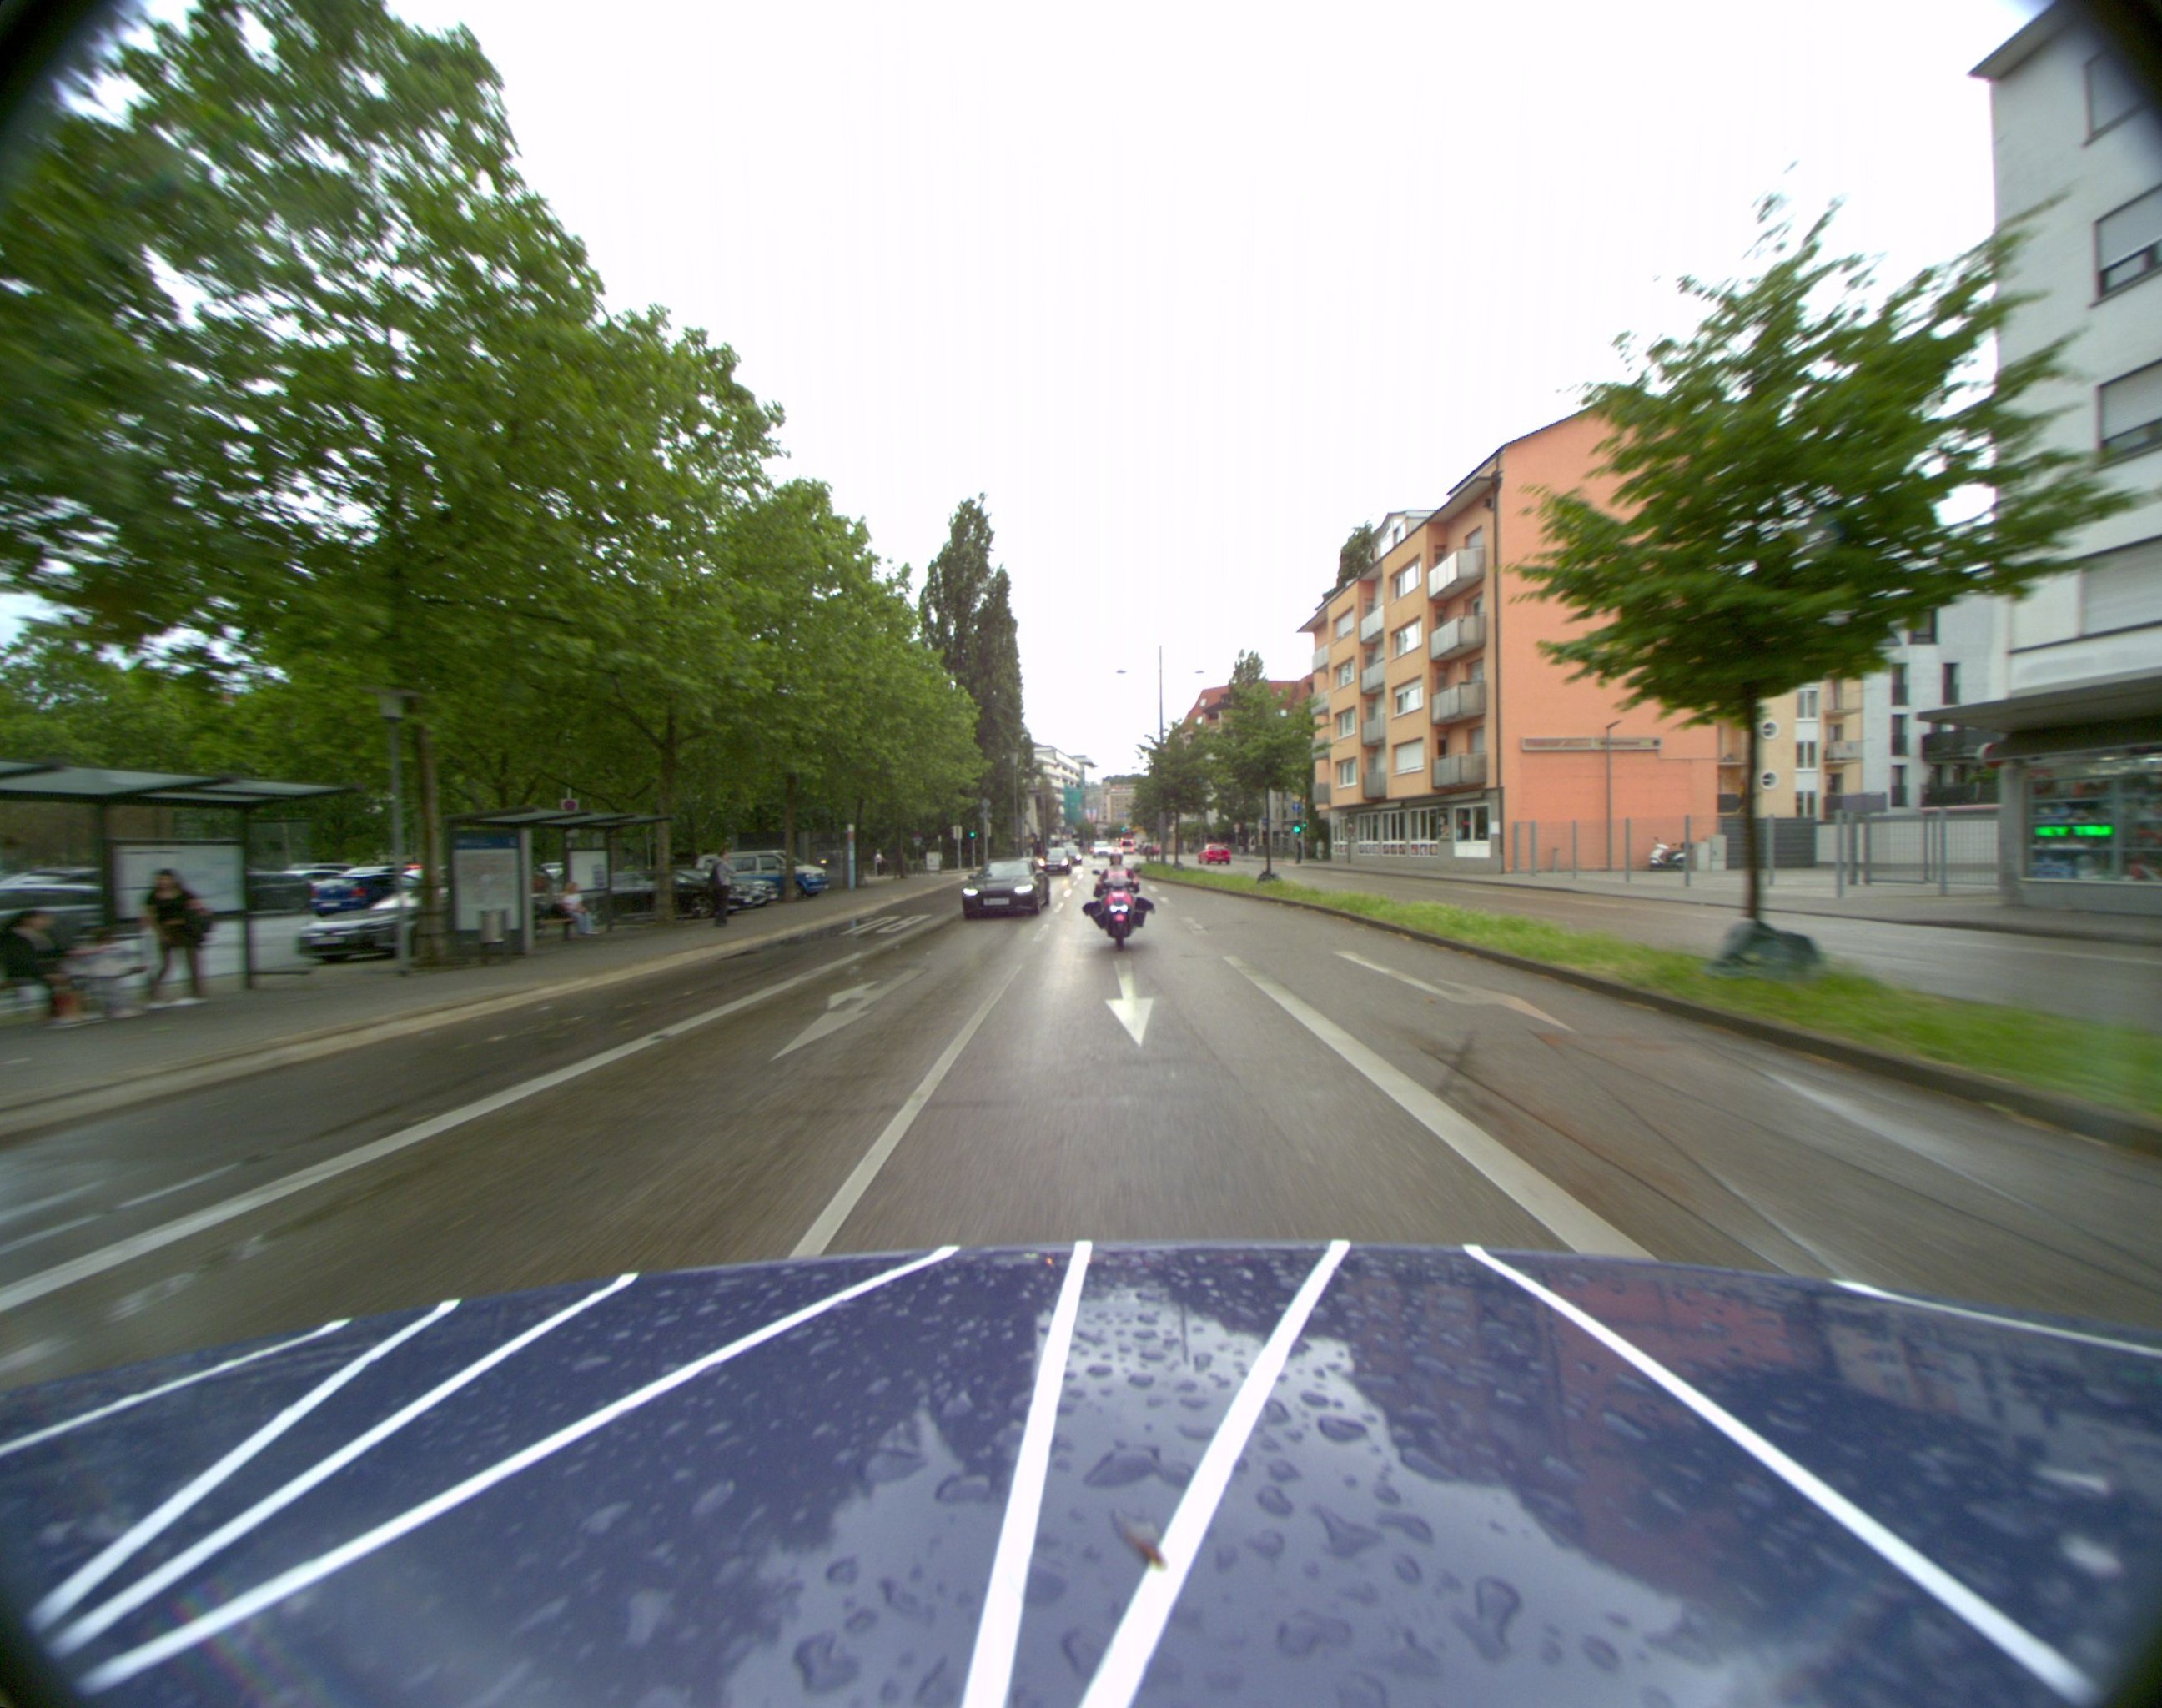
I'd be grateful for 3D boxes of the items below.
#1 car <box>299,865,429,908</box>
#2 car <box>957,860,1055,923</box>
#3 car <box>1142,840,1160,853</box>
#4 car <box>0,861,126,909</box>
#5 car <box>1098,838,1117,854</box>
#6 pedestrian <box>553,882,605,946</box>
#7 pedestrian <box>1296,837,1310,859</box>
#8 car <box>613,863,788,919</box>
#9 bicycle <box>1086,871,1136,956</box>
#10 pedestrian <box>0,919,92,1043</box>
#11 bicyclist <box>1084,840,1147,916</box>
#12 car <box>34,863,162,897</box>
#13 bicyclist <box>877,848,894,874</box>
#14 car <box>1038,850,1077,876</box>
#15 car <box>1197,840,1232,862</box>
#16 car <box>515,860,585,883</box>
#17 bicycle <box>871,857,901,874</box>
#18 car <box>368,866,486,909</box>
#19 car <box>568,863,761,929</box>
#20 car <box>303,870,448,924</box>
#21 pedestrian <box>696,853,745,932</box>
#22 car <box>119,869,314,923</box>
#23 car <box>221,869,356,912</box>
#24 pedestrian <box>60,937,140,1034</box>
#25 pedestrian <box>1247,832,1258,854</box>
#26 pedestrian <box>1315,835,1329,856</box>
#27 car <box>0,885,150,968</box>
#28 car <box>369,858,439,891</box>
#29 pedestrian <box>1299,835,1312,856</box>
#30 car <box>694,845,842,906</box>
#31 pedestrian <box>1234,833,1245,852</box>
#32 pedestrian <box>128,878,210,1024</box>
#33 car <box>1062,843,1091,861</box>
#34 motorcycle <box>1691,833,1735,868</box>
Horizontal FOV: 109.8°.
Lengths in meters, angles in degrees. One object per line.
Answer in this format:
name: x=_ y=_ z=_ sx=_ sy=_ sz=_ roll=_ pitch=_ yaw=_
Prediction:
car: x=-27.794 y=1.214 z=29.625 sx=1.531 sy=1.583 sz=3.612 roll=0 pitch=0 yaw=3
car: x=-1.942 y=0.951 z=21.064 sx=1.896 sy=1.396 sz=4.362 roll=-4 pitch=0 yaw=5
car: x=7.835 y=-0.839 z=85.206 sx=1.571 sy=1.385 sz=3.832 roll=0 pitch=1 yaw=-3
car: x=-38.950 y=1.107 z=27.973 sx=1.973 sy=1.660 sz=4.629 roll=0 pitch=0 yaw=-5
car: x=2.721 y=-0.787 z=76.881 sx=1.896 sy=1.567 sz=4.361 roll=0 pitch=0 yaw=3
pedestrian: x=-10.967 y=1.301 z=16.616 sx=0.632 sy=1.314 sz=0.626 roll=-2 pitch=2 yaw=13
pedestrian: x=15.169 y=-0.429 z=51.998 sx=0.561 sy=1.433 sz=0.608 roll=-5 pitch=1 yaw=-21
car: x=-12.431 y=1.189 z=25.019 sx=4.749 sy=1.397 sz=1.862 roll=-4 pitch=1 yaw=2
bicycle: x=0.467 y=0.947 z=12.841 sx=0.717 sy=1.297 sz=2.428 roll=1 pitch=-1 yaw=-1
pedestrian: x=-11.118 y=1.343 z=8.139 sx=0.499 sy=1.263 sz=0.402 roll=-1 pitch=0 yaw=2
bicyclist: x=0.594 y=0.412 z=12.812 sx=0.962 sy=1.218 sz=0.715 roll=-2 pitch=-2 yaw=7
car: x=-48.819 y=1.253 z=37.846 sx=1.639 sy=1.416 sz=3.597 roll=-2 pitch=1 yaw=-2
bicyclist: x=-13.474 y=0.484 z=52.342 sx=0.988 sy=1.760 sz=0.795 roll=-2 pitch=2 yaw=-17
car: x=-1.276 y=0.471 z=43.432 sx=1.896 sy=1.391 sz=4.361 roll=0 pitch=0 yaw=3
car: x=9.553 y=-0.233 z=54.682 sx=1.608 sy=1.422 sz=3.943 roll=1 pitch=1 yaw=-4
car: x=-37.796 y=1.238 z=54.150 sx=3.827 sy=1.455 sz=1.466 roll=-1 pitch=2 yaw=-4
bicycle: x=-13.461 y=0.796 z=52.410 sx=1.935 sy=1.088 sz=0.649 roll=-2 pitch=2 yaw=-17
car: x=-25.720 y=1.274 z=30.043 sx=1.571 sy=1.583 sz=3.611 roll=0 pitch=0 yaw=0
car: x=-11.853 y=1.156 z=21.882 sx=4.413 sy=1.476 sz=1.862 roll=-4 pitch=1 yaw=-4
car: x=-22.888 y=1.347 z=24.824 sx=1.640 sy=1.414 sz=3.353 roll=-2 pitch=2 yaw=-3
pedestrian: x=-8.704 y=0.908 z=18.375 sx=0.733 sy=1.831 sz=0.757 roll=-2 pitch=2 yaw=-2
car: x=-27.845 y=1.299 z=24.706 sx=1.616 sy=1.555 sz=4.054 roll=0 pitch=0 yaw=2
car: x=-30.710 y=1.378 z=29.612 sx=1.531 sy=1.549 sz=3.632 roll=0 pitch=0 yaw=-2
pedestrian: x=-11.105 y=1.482 z=8.605 sx=0.401 sy=1.028 sz=0.370 roll=-1 pitch=0 yaw=2
pedestrian: x=14.861 y=-0.929 z=65.818 sx=0.746 sy=1.876 sz=0.799 roll=-1 pitch=1 yaw=-4
pedestrian: x=18.948 y=-0.656 z=59.781 sx=0.684 sy=1.639 sz=0.744 roll=-2 pitch=2 yaw=-38
car: x=-20.326 y=1.344 z=13.695 sx=1.738 sy=1.431 sz=4.444 roll=0 pitch=0 yaw=-2
car: x=-34.863 y=1.019 z=39.090 sx=3.988 sy=1.573 sz=1.757 roll=0 pitch=2 yaw=35
pedestrian: x=17.931 y=-0.674 z=60.684 sx=0.748 sy=1.681 sz=0.681 roll=-2 pitch=2 yaw=-33
car: x=-12.109 y=0.797 z=29.611 sx=4.846 sy=1.932 sz=1.950 roll=-4 pitch=2 yaw=2
pedestrian: x=14.548 y=-1.058 z=69.615 sx=0.767 sy=1.686 sz=0.799 roll=-1 pitch=2 yaw=-4
pedestrian: x=-11.098 y=1.141 z=9.261 sx=0.542 sy=1.685 sz=0.553 roll=-1 pitch=0 yaw=-43
car: x=-0.402 y=-0.187 z=61.050 sx=1.897 sy=1.413 sz=4.358 roll=0 pitch=0 yaw=-6
motorcycle: x=26.214 y=-0.149 z=31.511 sx=1.467 sy=1.454 sz=0.397 roll=1 pitch=2 yaw=-1
